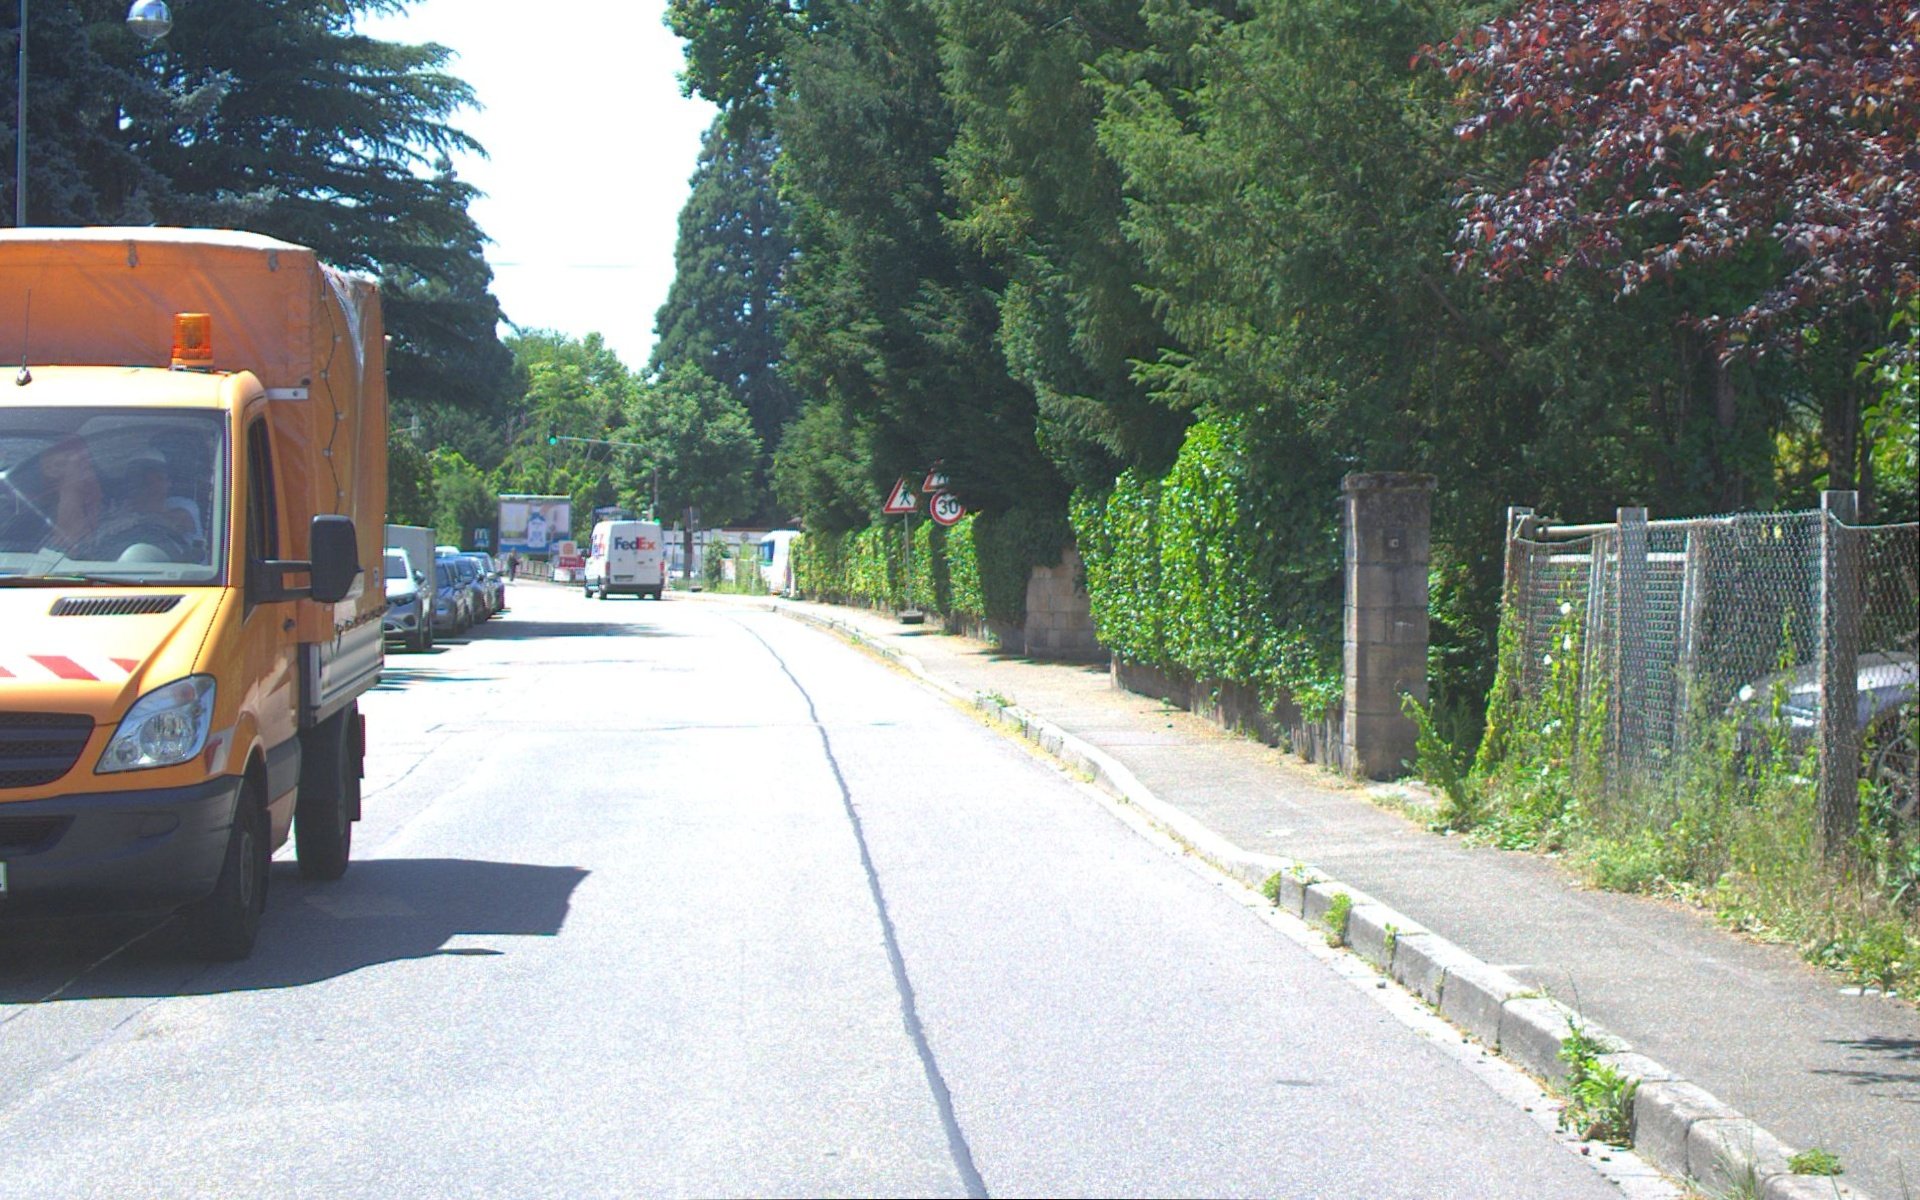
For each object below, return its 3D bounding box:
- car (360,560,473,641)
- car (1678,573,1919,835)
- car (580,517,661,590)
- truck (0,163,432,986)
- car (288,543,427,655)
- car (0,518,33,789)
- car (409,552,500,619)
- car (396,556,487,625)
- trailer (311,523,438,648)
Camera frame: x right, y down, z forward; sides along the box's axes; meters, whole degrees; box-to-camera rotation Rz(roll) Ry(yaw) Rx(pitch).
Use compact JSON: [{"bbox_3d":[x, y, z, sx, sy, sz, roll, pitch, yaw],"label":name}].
[{"bbox_3d":[-10.239,-0.020,64.994,1.709,1.434,4.323,-1,1,-4],"label":"car"},{"bbox_3d":[6.167,0.581,19.317,3.861,1.376,1.766,1,1,0],"label":"car"},{"bbox_3d":[-11.204,-1.541,113.178,2.143,2.307,4.854,-1,1,-12],"label":"car"},{"bbox_3d":[-3.735,-0.119,14.600,2.373,2.820,5.659,0,1,-3],"label":"truck"},{"bbox_3d":[-9.580,-0.037,54.951,1.850,1.665,4.713,-1,1,-6],"label":"car"},{"bbox_3d":[-6.901,0.368,20.545,1.757,1.721,4.459,-1,1,-4],"label":"car"},{"bbox_3d":[-11.192,-0.345,76.301,1.688,1.439,4.136,0,1,-4],"label":"car"},{"bbox_3d":[-10.735,-0.214,71.340,1.582,1.385,3.883,0,1,-4],"label":"car"},{"bbox_3d":[-10.069,-0.263,59.363,1.847,2.033,4.164,-1,1,-6],"label":"trailer"}]
